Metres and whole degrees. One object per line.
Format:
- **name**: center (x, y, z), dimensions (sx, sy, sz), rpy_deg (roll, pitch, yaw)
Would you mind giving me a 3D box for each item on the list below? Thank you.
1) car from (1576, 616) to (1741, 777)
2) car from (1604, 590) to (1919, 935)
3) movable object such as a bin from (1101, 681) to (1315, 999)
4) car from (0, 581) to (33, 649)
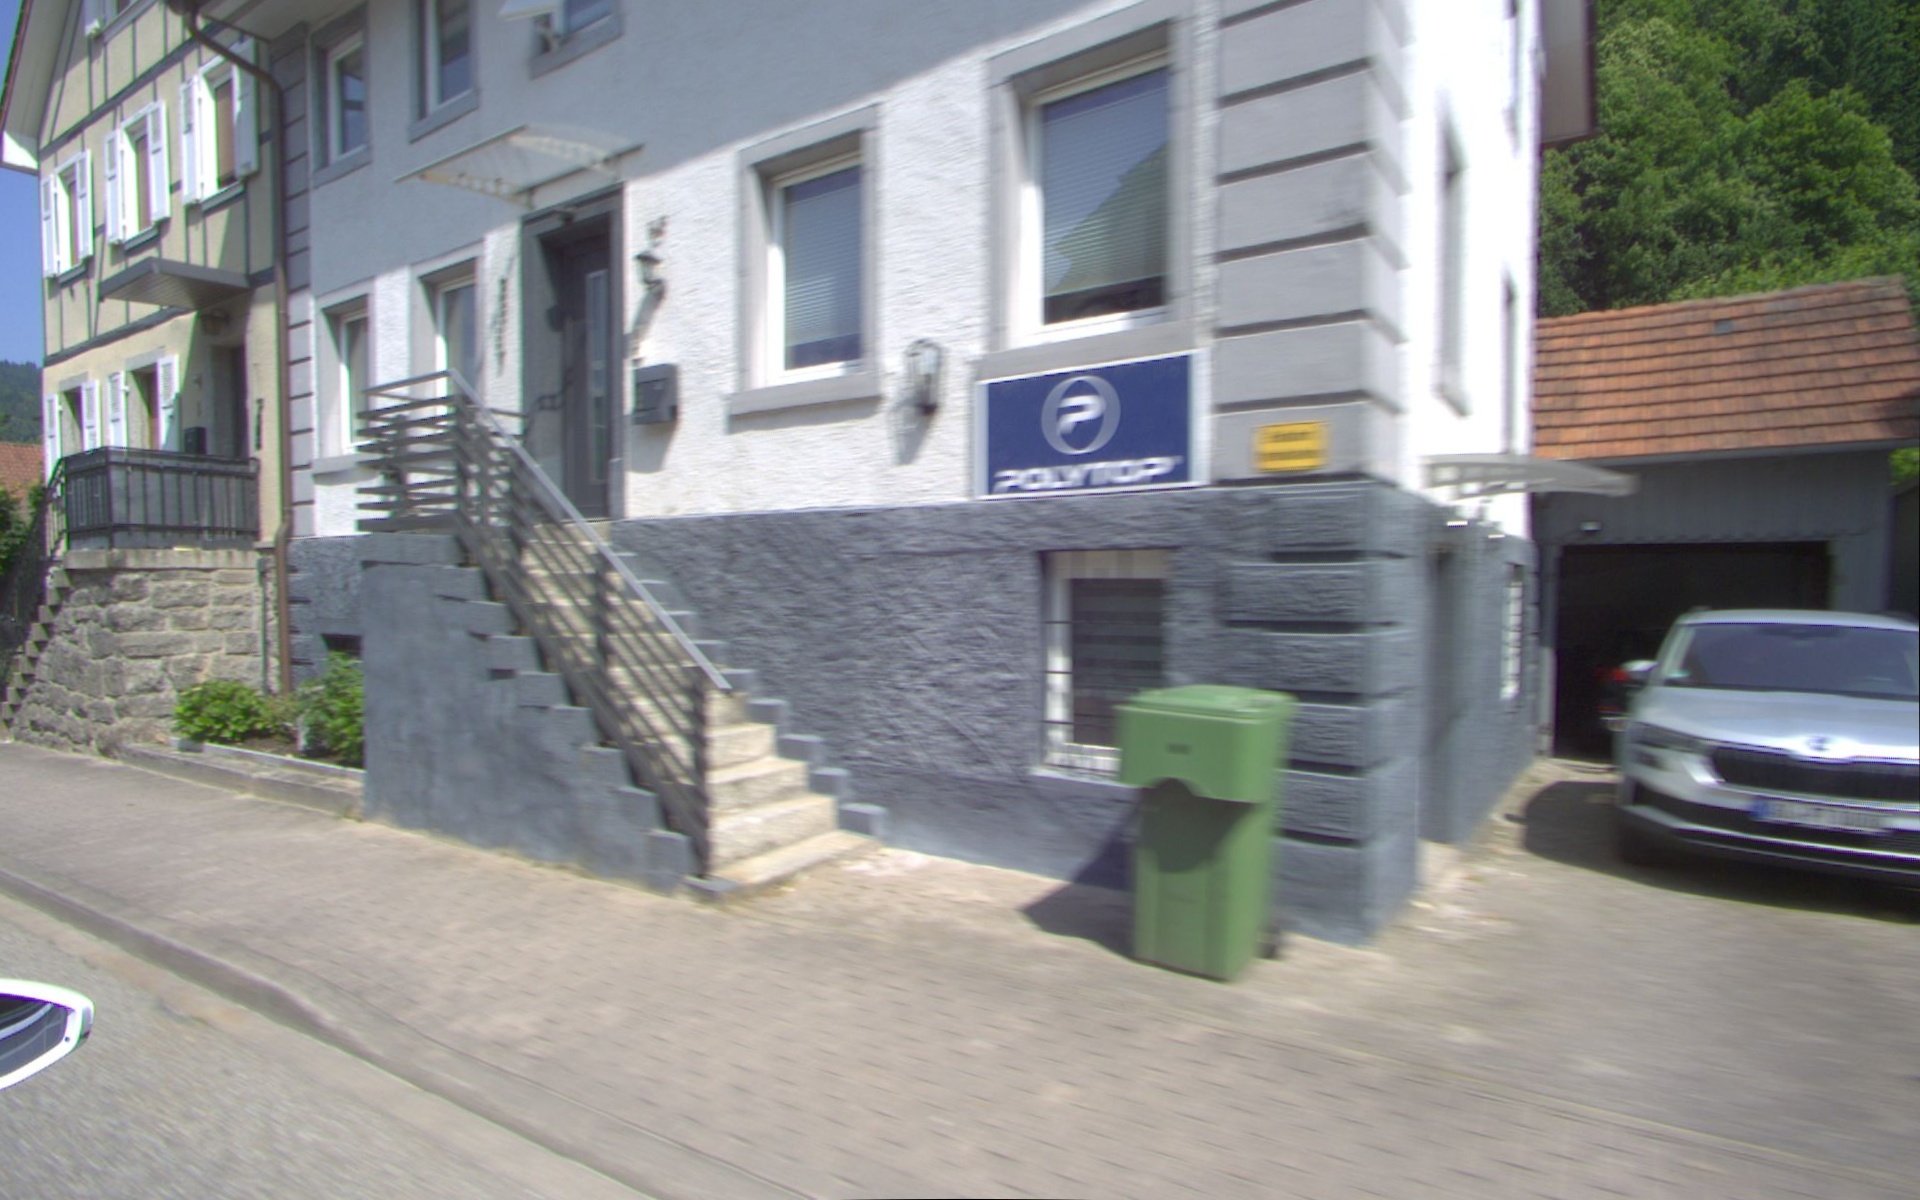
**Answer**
- **car**: center (7.869, 0.965, 11.391), dimensions (1.357, 1.511, 3.219), rpy_deg (0, 0, 34)
- **car**: center (5.357, 0.845, 6.492), dimensions (1.776, 1.610, 3.949), rpy_deg (0, -3, 36)
- **movable object such as a bin**: center (0.992, 0.875, 3.955), dimensions (0.609, 1.034, 0.702), rpy_deg (0, 1, 34)
- **car**: center (-26.479, 0.572, 25.230), dimensions (1.754, 1.711, 4.202), rpy_deg (0, 5, 36)
